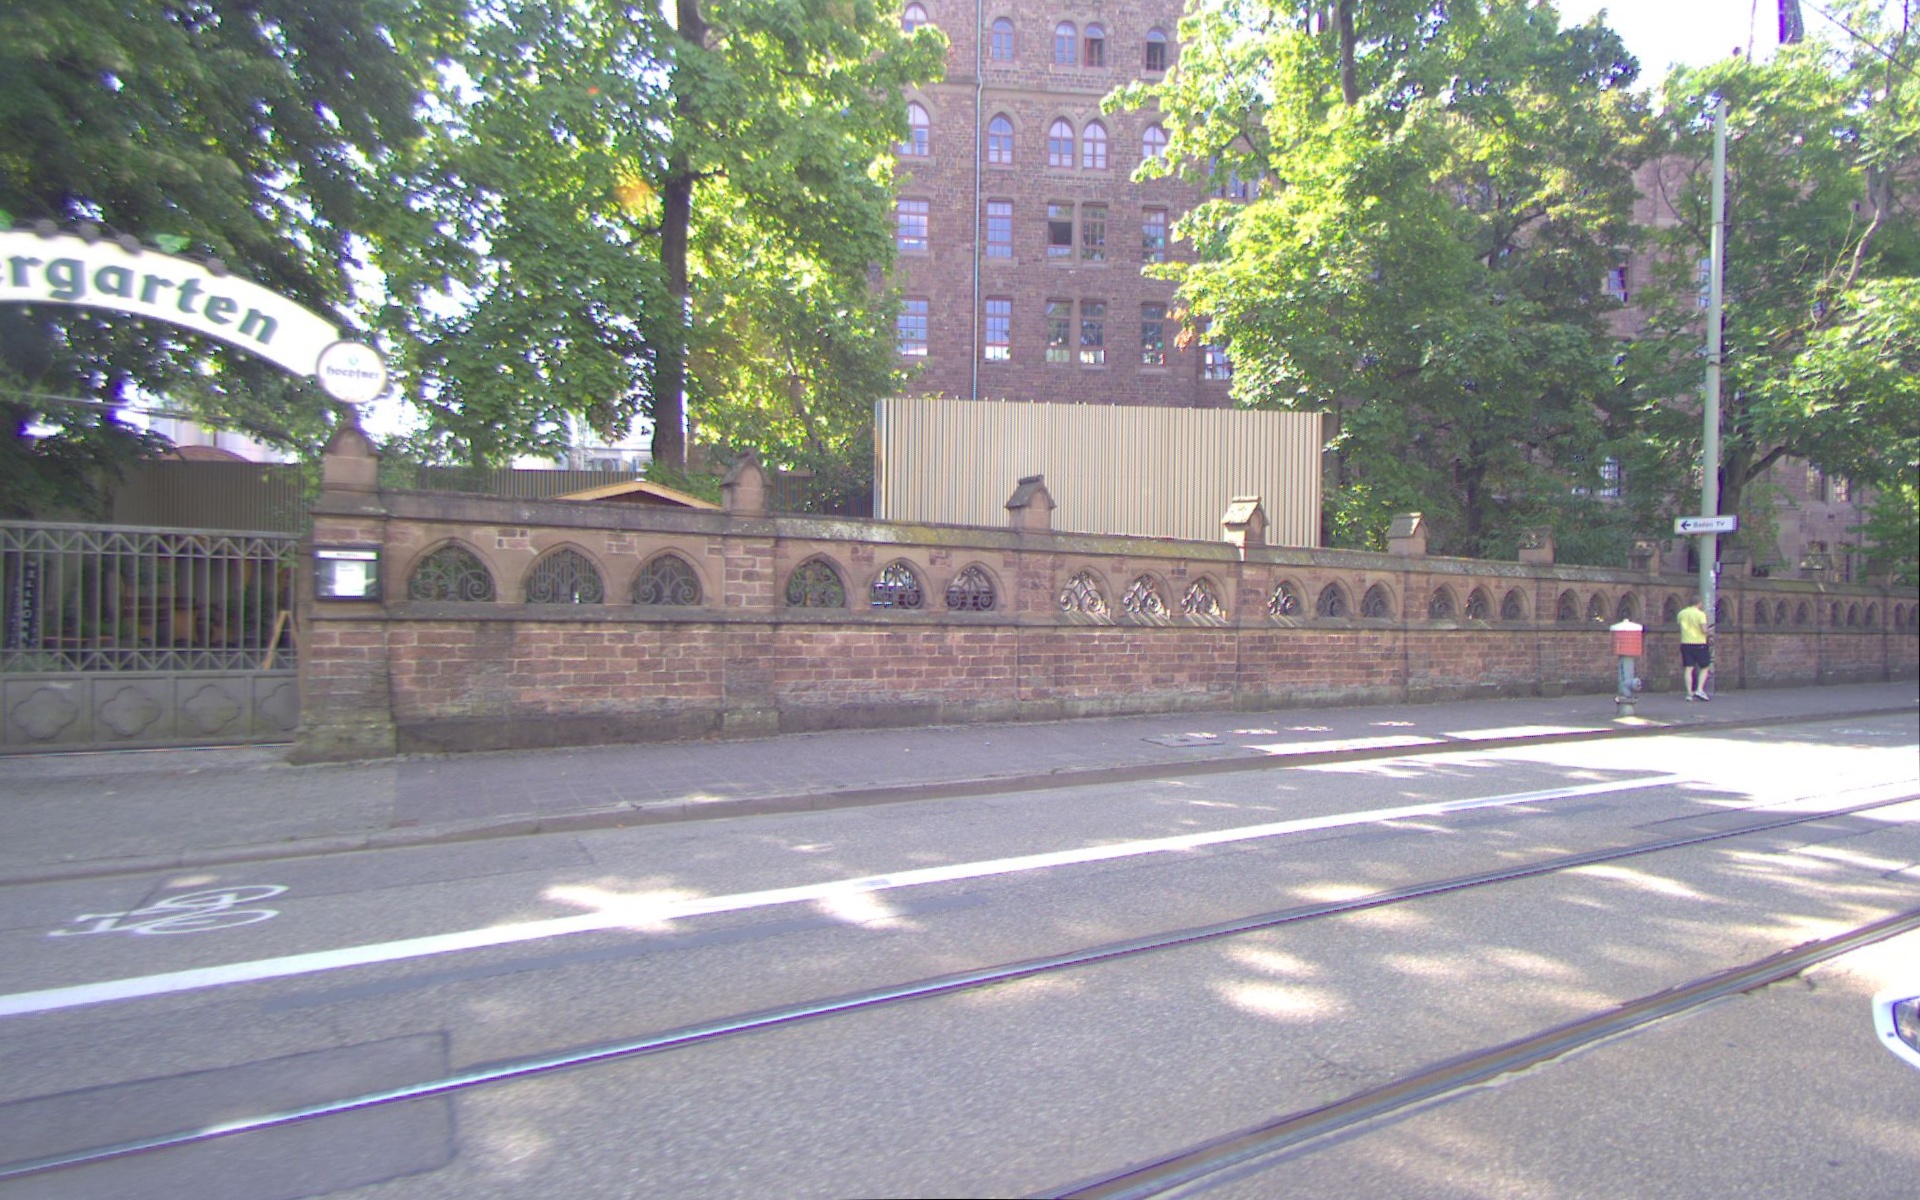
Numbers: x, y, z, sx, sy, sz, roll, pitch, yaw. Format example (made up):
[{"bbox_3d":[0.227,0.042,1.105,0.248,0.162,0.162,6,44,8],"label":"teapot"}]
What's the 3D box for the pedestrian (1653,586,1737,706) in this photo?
[{"bbox_3d":[12.934,0.794,17.692,0.972,2.040,0.859,1,0,-31],"label":"pedestrian"}]
